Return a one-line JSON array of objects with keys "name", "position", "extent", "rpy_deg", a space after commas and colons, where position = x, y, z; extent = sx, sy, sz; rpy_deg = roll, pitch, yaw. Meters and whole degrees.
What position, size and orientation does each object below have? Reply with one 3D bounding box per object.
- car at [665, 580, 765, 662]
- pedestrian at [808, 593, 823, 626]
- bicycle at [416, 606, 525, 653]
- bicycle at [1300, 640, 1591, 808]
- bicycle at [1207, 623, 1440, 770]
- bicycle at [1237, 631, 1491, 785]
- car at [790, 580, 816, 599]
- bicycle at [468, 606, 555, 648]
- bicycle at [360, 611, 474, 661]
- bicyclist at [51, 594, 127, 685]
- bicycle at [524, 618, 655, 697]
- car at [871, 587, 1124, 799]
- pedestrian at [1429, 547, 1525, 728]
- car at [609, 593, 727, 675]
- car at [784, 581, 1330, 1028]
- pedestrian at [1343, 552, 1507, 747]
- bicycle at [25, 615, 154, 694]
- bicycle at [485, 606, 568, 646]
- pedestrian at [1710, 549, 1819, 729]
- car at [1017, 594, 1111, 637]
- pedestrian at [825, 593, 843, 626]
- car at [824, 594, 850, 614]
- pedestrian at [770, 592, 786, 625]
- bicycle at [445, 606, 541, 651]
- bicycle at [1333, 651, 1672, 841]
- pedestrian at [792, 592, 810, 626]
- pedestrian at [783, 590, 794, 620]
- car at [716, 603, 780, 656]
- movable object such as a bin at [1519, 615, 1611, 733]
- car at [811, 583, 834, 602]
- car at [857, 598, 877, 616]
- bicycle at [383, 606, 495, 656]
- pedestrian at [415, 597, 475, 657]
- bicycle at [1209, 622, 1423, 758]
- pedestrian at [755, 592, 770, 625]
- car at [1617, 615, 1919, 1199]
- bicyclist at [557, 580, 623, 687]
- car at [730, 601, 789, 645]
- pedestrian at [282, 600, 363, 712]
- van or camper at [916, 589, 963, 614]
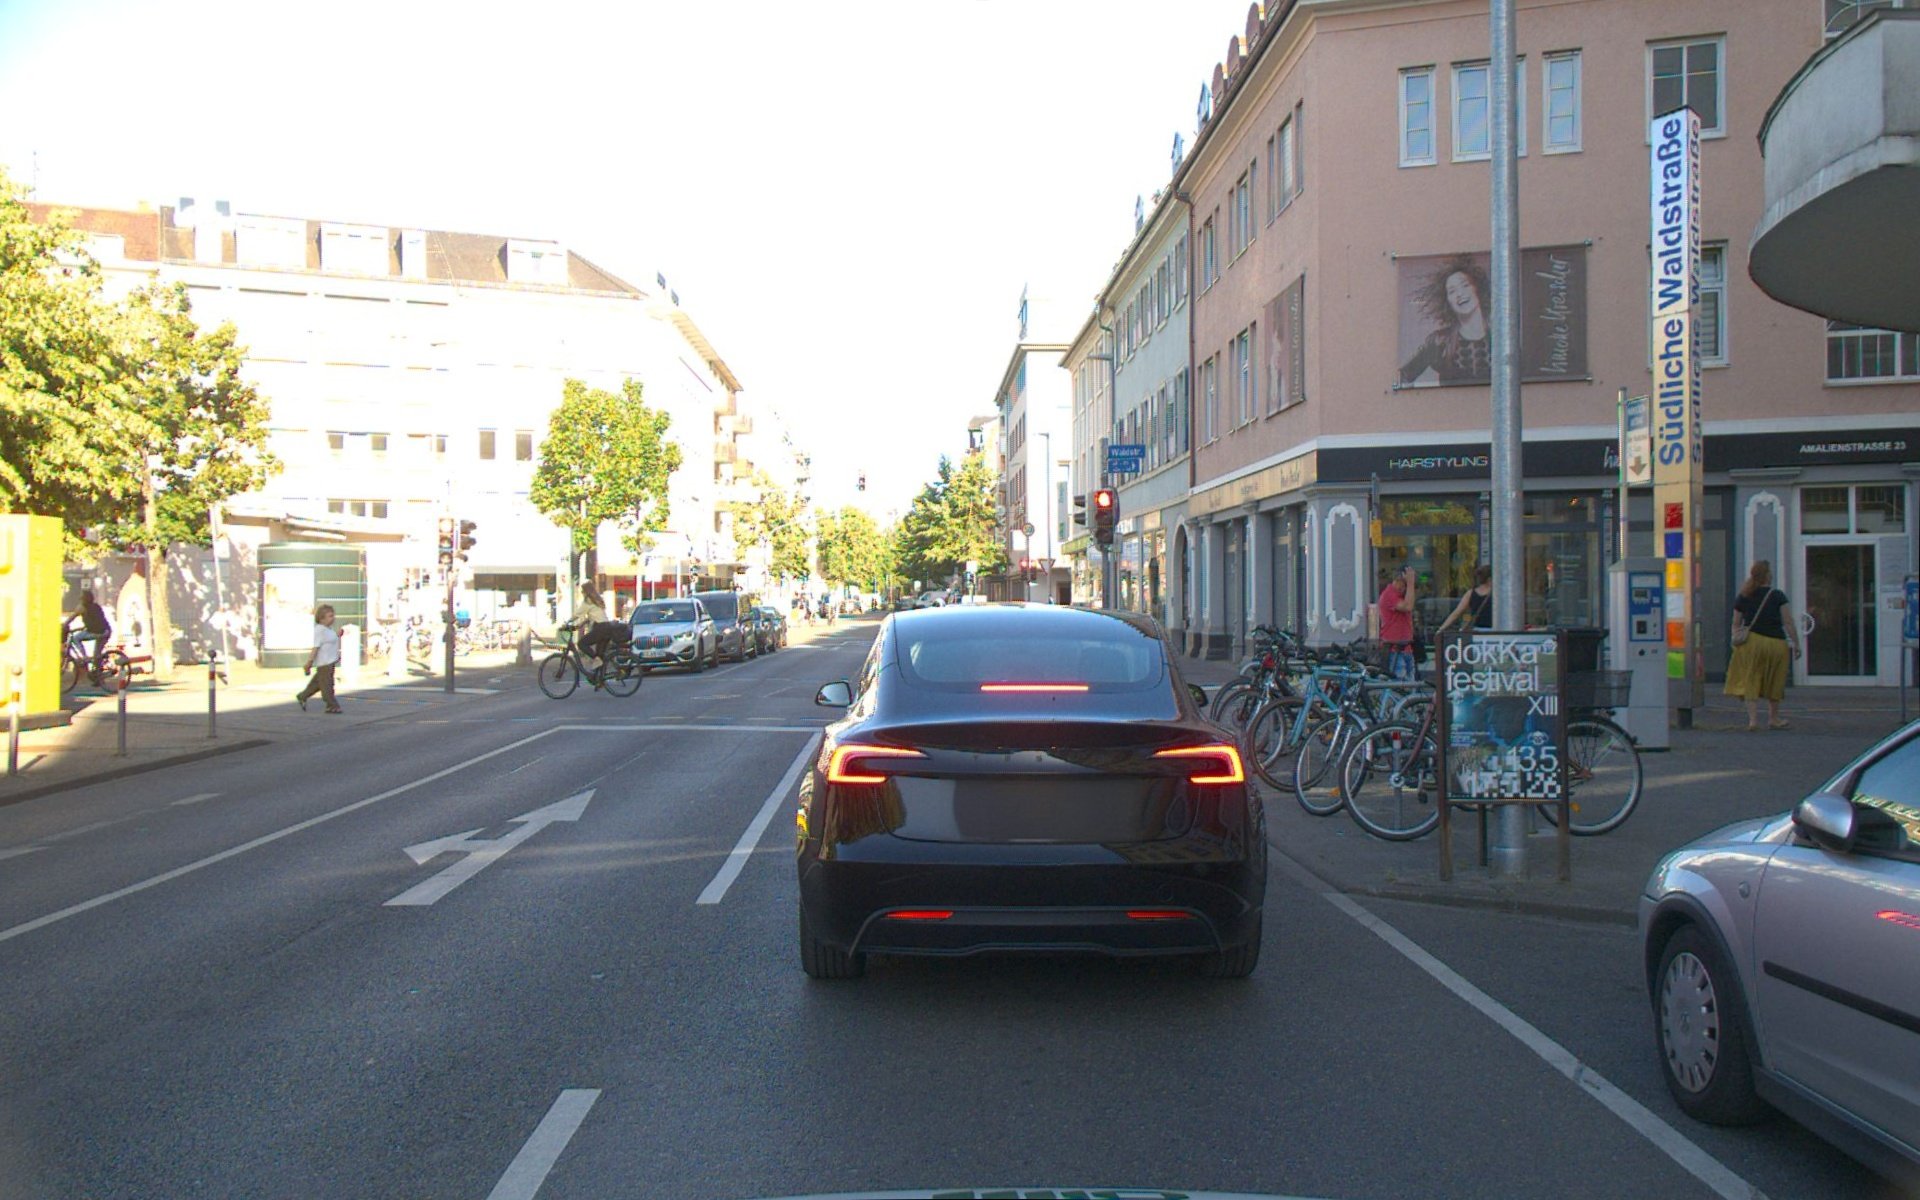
[{"name": "car", "position": [-6.233, 0.504, 42.567], "extent": [1.906, 1.981, 4.819], "rpy_deg": [0, 0, -1]}, {"name": "pedestrian", "position": [-8.457, 0.561, 96.529], "extent": [0.683, 1.900, 0.906], "rpy_deg": [1, -1, -16]}, {"name": "bicycle", "position": [-14.002, 0.829, 47.326], "extent": [2.818, 1.292, 0.942], "rpy_deg": [1, 0, -4]}, {"name": "bicycle", "position": [3.247, 0.820, 11.164], "extent": [1.776, 1.078, 0.653], "rpy_deg": [0, 0, 0]}, {"name": "bicycle", "position": [2.976, 0.781, 13.641], "extent": [1.776, 1.172, 0.653], "rpy_deg": [0, 0, 0]}, {"name": "bicycle", "position": [3.047, 0.803, 12.568], "extent": [1.776, 1.121, 0.653], "rpy_deg": [0, 0, 0]}, {"name": "car", "position": [-17.018, -1.131, 179.408], "extent": [2.228, 2.049, 4.717], "rpy_deg": [1, 0, 0]}, {"name": "bicycle", "position": [-14.063, 0.848, 51.919], "extent": [2.491, 1.273, 0.942], "rpy_deg": [1, 0, -4]}, {"name": "bicycle", "position": [-13.951, 0.923, 42.587], "extent": [2.607, 1.216, 0.942], "rpy_deg": [1, 0, -4]}, {"name": "bicyclist", "position": [-14.722, 0.656, 27.957], "extent": [0.934, 1.510, 0.608], "rpy_deg": [1, -1, 14]}, {"name": "bicycle", "position": [-5.865, 0.911, 26.207], "extent": [1.912, 1.178, 0.576], "rpy_deg": [-2, -1, 10]}, {"name": "car", "position": [0.240, 0.684, 14.197], "extent": [1.812, 1.507, 4.450], "rpy_deg": [1, 0, -1]}, {"name": "pedestrian", "position": [5.625, 0.403, 18.049], "extent": [0.667, 1.882, 0.893], "rpy_deg": [-3, -1, 1]}, {"name": "car", "position": [-6.325, 0.709, 36.239], "extent": [1.788, 1.592, 4.299], "rpy_deg": [-3, 0, -1]}, {"name": "car", "position": [0.297, 0.698, 7.773], "extent": [1.812, 1.472, 4.450], "rpy_deg": [1, 0, -1]}, {"name": "pedestrian", "position": [4.383, 0.448, 15.597], "extent": [1.052, 1.750, 1.096], "rpy_deg": [1, -1, -41]}, {"name": "bicycle", "position": [-14.701, 0.910, 27.949], "extent": [1.952, 1.244, 0.630], "rpy_deg": [2, -2, 14]}, {"name": "bicycle", "position": [-14.229, 0.855, 54.341], "extent": [2.491, 1.273, 0.942], "rpy_deg": [1, 0, -4]}, {"name": "pedestrian", "position": [8.286, 0.392, 17.059], "extent": [0.706, 1.785, 0.788], "rpy_deg": [-2, -1, 5]}, {"name": "car", "position": [4.711, 0.702, 74.742], "extent": [3.937, 1.900, 1.686], "rpy_deg": [0, 0, -22]}, {"name": "pedestrian", "position": [-7.299, 0.547, 95.616], "extent": [0.763, 1.900, 1.002], "rpy_deg": [1, -1, -21]}, {"name": "car", "position": [-12.345, 0.394, 166.264], "extent": [2.365, 2.004, 4.677], "rpy_deg": [0, 0, -1]}, {"name": "pedestrian", "position": [-10.668, 0.494, 96.913], "extent": [0.721, 1.900, 0.787], "rpy_deg": [1, -1, -17]}, {"name": "bicycle", "position": [-14.011, 0.844, 49.644], "extent": [2.609, 1.281, 0.942], "rpy_deg": [1, 0, -4]}, {"name": "bicycle", "position": [3.276, 0.873, 10.092], "extent": [1.844, 1.062, 0.653], "rpy_deg": [-1, 0, 0]}, {"name": "pedestrian", "position": [-9.072, 0.511, 94.329], "extent": [0.719, 1.900, 0.790], "rpy_deg": [1, -1, 28]}, {"name": "pedestrian", "position": [-10.768, 0.312, 103.716], "extent": [0.681, 1.900, 0.658], "rpy_deg": [1, -1, -6]}, {"name": "car", "position": [-6.337, 0.852, 49.693], "extent": [1.431, 1.455, 3.605], "rpy_deg": [-3, 0, -1]}, {"name": "movable object such as a bin", "position": [6.040, 0.730, 16.543], "extent": [0.623, 1.122, 0.728], "rpy_deg": [-2, 0, 3]}, {"name": "car", "position": [-15.601, -0.818, 188.064], "extent": [2.228, 2.049, 4.717], "rpy_deg": [1, 0, 0]}, {"name": "car", "position": [-10.502, 0.828, 186.968], "extent": [2.089, 2.004, 4.133], "rpy_deg": [0, 0, -1]}, {"name": "bicycle", "position": [-14.126, 0.842, 44.925], "extent": [2.725, 1.296, 0.932], "rpy_deg": [1, 0, -4]}, {"name": "pedestrian", "position": [-14.426, 0.745, 46.360], "extent": [1.256, 1.639, 1.079], "rpy_deg": [1, -1, -43]}, {"name": "bicycle", "position": [3.160, 0.790, 14.778], "extent": [1.776, 1.172, 0.653], "rpy_deg": [0, 0, 0]}, {"name": "pedestrian", "position": [-11.582, 0.477, 96.763], "extent": [0.721, 1.900, 0.787], "rpy_deg": [1, -1, -17]}, {"name": "car", "position": [2.919, 0.779, 3.539], "extent": [1.551, 1.451, 3.579], "rpy_deg": [1, 0, -1]}, {"name": "bicyclist", "position": [-5.854, 0.522, 26.204], "extent": [0.808, 1.642, 0.580], "rpy_deg": [-2, 0, 9]}, {"name": "car", "position": [-6.826, 0.763, 56.637], "extent": [1.660, 1.414, 3.914], "rpy_deg": [-1, 0, -3]}, {"name": "pedestrian", "position": [-9.169, 0.797, 23.808], "extent": [0.904, 1.570, 0.694], "rpy_deg": [1, -1, -6]}, {"name": "van or camper", "position": [-2.068, 0.171, 167.521], "extent": [4.752, 2.481, 1.850], "rpy_deg": [0, 0, -1]}]
